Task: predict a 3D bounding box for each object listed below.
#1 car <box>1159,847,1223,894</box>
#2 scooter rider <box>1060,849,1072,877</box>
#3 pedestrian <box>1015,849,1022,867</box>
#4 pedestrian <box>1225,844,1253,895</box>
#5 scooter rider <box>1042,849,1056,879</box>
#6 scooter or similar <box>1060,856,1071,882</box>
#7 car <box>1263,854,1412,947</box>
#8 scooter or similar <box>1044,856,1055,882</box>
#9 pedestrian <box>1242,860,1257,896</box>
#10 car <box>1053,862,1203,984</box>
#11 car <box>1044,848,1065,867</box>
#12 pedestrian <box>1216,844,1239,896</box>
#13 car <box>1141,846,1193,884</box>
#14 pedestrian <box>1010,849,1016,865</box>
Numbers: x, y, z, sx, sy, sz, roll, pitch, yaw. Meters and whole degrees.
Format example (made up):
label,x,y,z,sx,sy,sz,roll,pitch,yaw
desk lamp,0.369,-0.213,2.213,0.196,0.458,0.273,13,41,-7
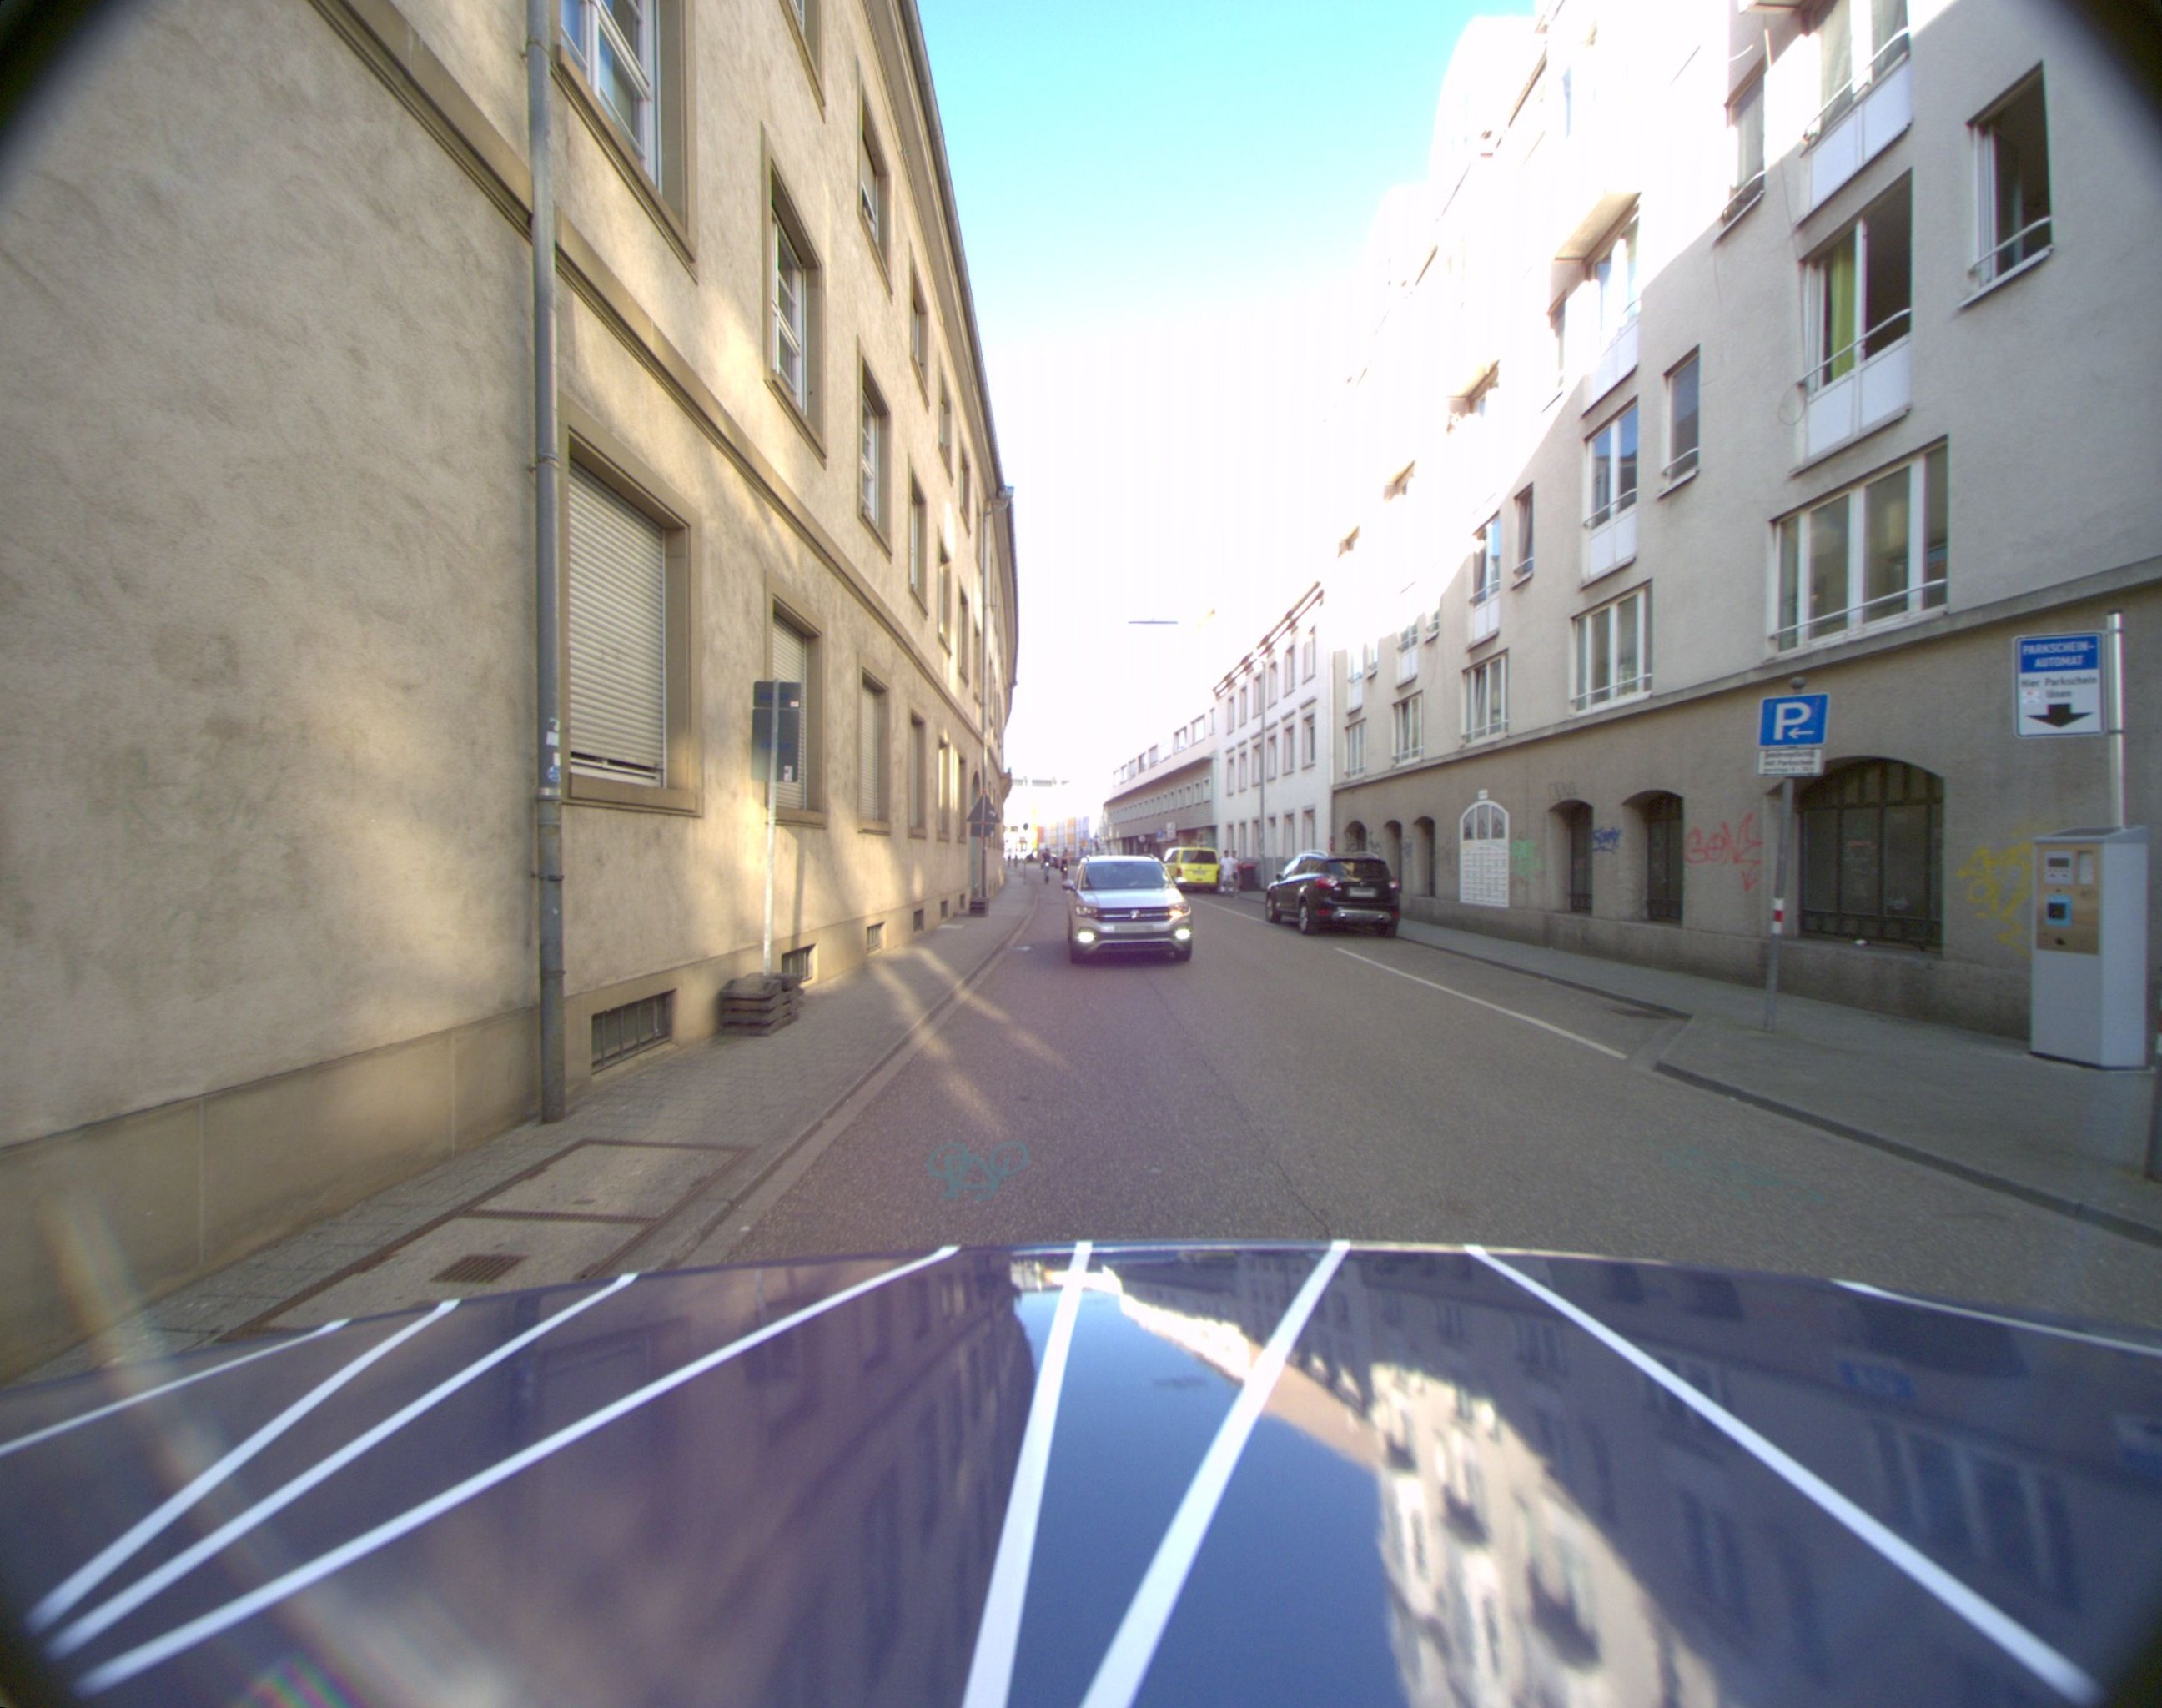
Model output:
label,x,y,z,sx,sy,sz,roll,pitch,yaw
car,4.668,0.653,32.770,1.889,1.863,3.998,2,0,-4
scooter rider,-0.830,0.512,41.822,0.591,1.499,0.600,-2,1,-1
pedestrian,-6.907,0.482,83.932,0.715,2.002,0.699,0,1,-2
pedestrian,6.323,0.607,30.404,0.937,2.002,0.699,0,1,-2
scooter rider,-1.765,0.547,41.920,0.647,1.584,0.600,-2,1,-1
scooter or similar,-0.854,0.812,41.672,0.550,1.388,1.555,0,0,-1
car,5.309,0.875,16.308,1.888,1.694,4.000,1,0,1
scooter or similar,-1.747,0.819,42.087,0.524,1.388,1.555,0,0,-1
pedestrian,6.838,0.965,30.900,0.556,1.439,0.583,0,1,9
car,0.557,0.925,12.036,1.763,1.537,3.998,0,0,-6
car,-2.809,0.359,78.601,1.889,1.863,3.998,2,0,-5
pedestrian,5.713,0.624,29.624,0.715,2.002,0.699,0,1,-2
car,4.316,0.516,38.718,1.889,1.757,3.998,2,0,-4
pedestrian,-8.306,0.381,92.400,0.715,2.002,0.699,0,1,-2
